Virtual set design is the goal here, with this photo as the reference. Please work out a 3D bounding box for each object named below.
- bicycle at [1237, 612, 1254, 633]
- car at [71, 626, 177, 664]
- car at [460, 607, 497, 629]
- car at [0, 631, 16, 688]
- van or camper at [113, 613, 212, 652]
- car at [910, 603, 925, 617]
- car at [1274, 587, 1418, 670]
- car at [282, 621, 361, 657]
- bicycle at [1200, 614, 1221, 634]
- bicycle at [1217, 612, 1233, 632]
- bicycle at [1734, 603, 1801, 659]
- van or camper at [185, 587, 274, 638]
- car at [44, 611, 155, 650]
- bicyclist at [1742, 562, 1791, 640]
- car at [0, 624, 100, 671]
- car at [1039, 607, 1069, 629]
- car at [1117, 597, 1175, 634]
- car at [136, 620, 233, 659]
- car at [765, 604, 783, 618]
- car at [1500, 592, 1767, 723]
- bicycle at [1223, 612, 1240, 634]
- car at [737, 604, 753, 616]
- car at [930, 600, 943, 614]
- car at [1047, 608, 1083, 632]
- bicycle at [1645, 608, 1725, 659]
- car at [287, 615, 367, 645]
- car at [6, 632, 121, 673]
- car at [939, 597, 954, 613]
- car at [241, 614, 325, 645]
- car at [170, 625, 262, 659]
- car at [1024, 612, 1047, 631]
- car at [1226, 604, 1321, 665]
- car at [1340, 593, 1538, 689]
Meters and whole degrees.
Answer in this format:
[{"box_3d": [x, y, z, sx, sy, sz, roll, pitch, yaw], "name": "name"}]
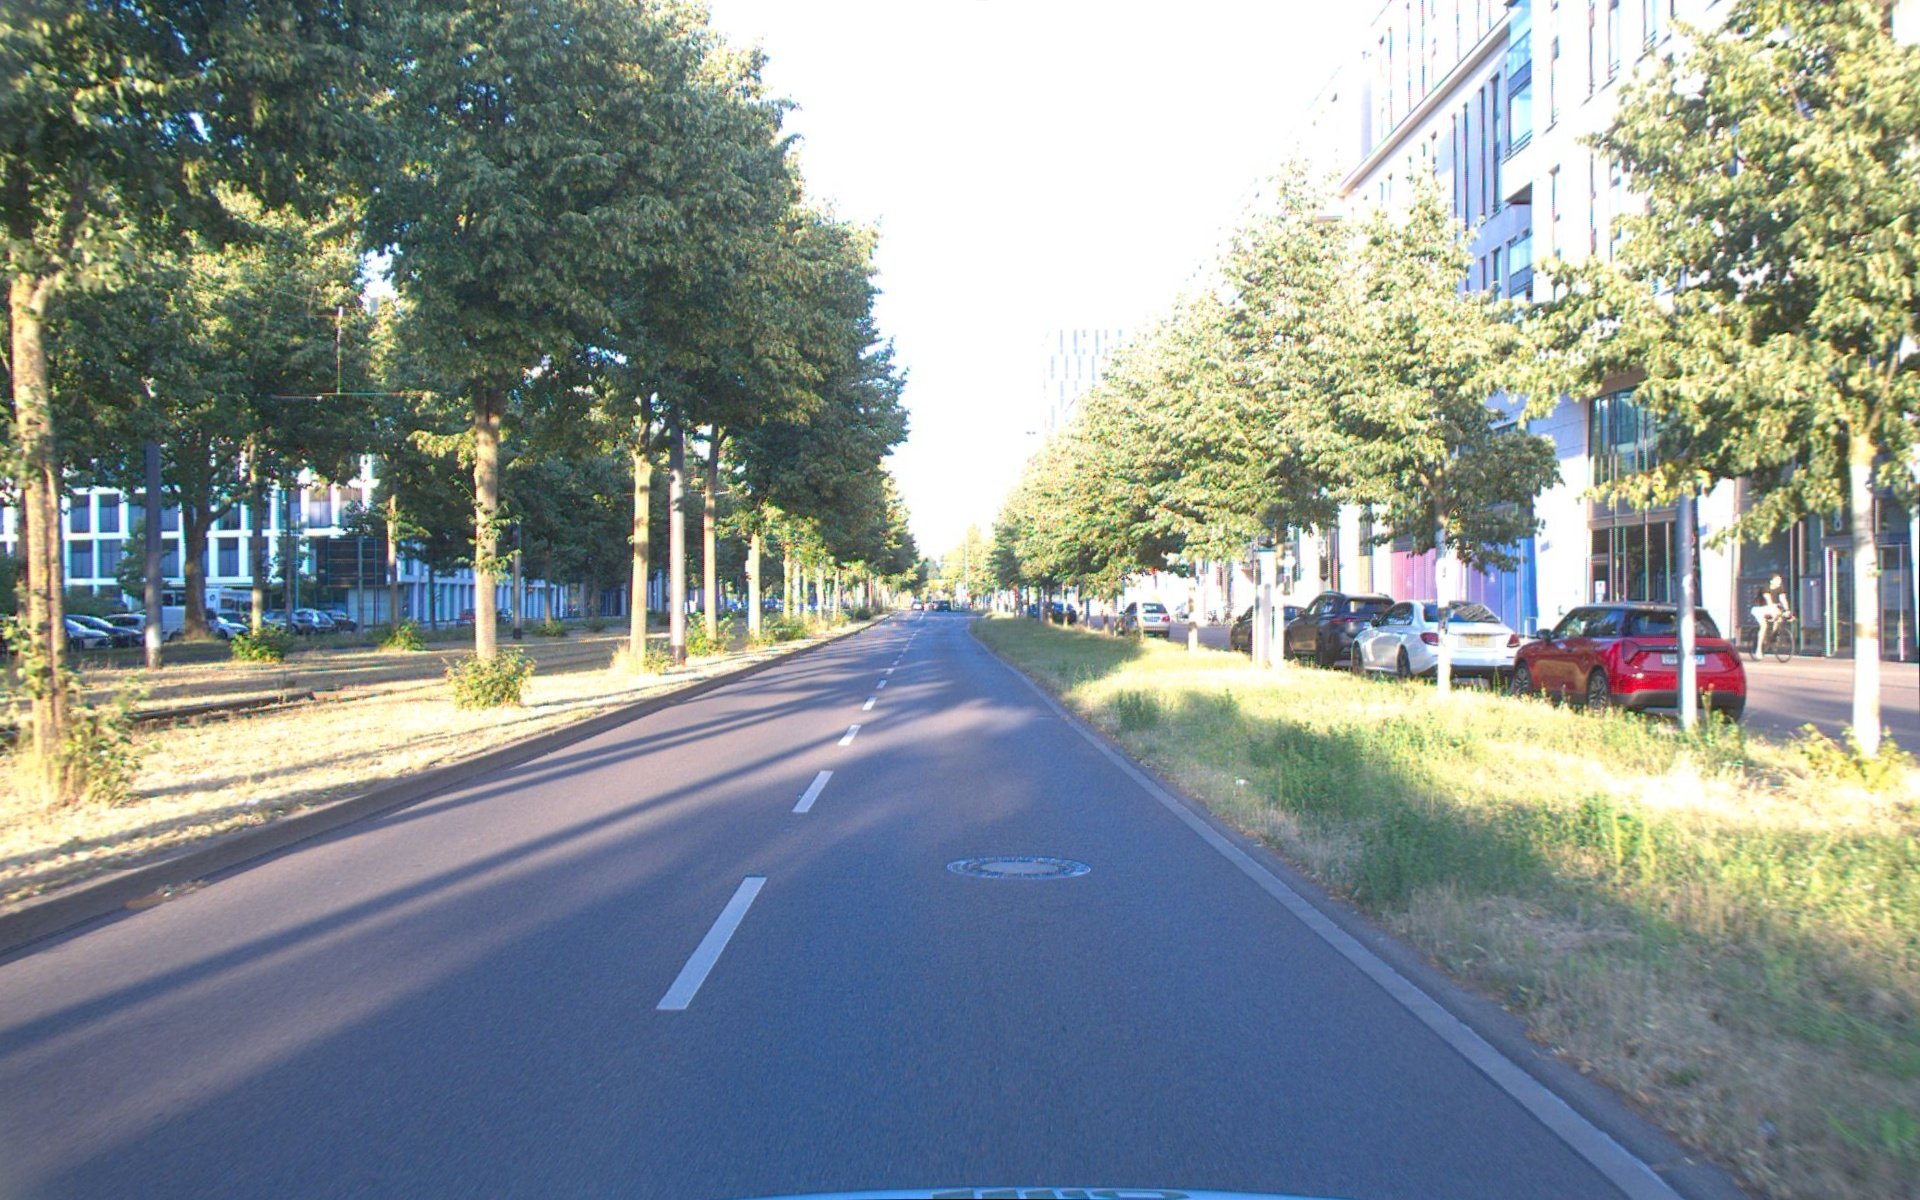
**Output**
[{"box_3d": [15.007, 1.167, 86.892, 0.522, 1.079, 1.856, -3, 0, -1], "name": "bicycle"}, {"box_3d": [-38.767, 2.095, 76.790, 3.908, 1.669, 1.920, -1, 0, -5], "name": "car"}, {"box_3d": [-36.542, 1.350, 125.600, 1.822, 1.609, 3.492, 0, 0, 0], "name": "car"}, {"box_3d": [-31.038, 1.881, 50.360, 1.953, 1.780, 4.789, -1, -1, -2], "name": "car"}, {"box_3d": [-38.475, 1.546, 79.888, 3.916, 1.822, 1.994, -1, 0, -11], "name": "van or camper"}, {"box_3d": [-6.033, 1.401, 232.718, 2.045, 2.049, 3.998, 0, 0, -2], "name": "car"}, {"box_3d": [8.418, 0.599, 36.512, 1.914, 1.652, 4.819, 2, 0, -2], "name": "car"}, {"box_3d": [-37.793, 2.273, 98.004, 3.908, 2.049, 1.998, -1, -1, -4], "name": "car"}, {"box_3d": [13.844, 1.311, 91.444, 0.523, 1.079, 1.776, -2, 0, -10], "name": "bicycle"}, {"box_3d": [14.540, 1.215, 90.729, 0.522, 1.079, 1.856, -1, 0, -1], "name": "bicycle"}, {"box_3d": [16.845, 0.641, 34.538, 0.532, 1.138, 1.913, -1, 0, 2], "name": "bicycle"}, {"box_3d": [-46.705, 0.818, 105.891, 2.654, 3.139, 6.264, 0, 0, 3], "name": "van or camper"}, {"box_3d": [-38.353, 1.354, 73.777, 3.908, 1.669, 1.920, -1, 0, -5], "name": "car"}, {"box_3d": [16.844, 0.027, 34.560, 0.533, 1.596, 1.020, -1, -1, 2], "name": "bicyclist"}, {"box_3d": [-31.382, 1.608, 56.350, 1.952, 1.512, 4.001, -1, -1, 2], "name": "car"}, {"box_3d": [6.891, 1.343, 121.401, 1.817, 1.556, 4.481, 1, -1, -1], "name": "car"}, {"box_3d": [7.848, 0.638, 70.193, 1.772, 1.527, 4.823, 0, 0, -2], "name": "car"}, {"box_3d": [-38.875, 1.955, 83.017, 3.905, 1.877, 2.012, -1, 0, -1], "name": "car"}, {"box_3d": [-22.622, 1.334, 201.500, 1.847, 1.605, 4.181, -1, -1, -2], "name": "car"}, {"box_3d": [8.607, 0.682, 21.532, 1.772, 1.527, 3.958, 0, 0, -2], "name": "car"}, {"box_3d": [14.453, 1.216, 88.060, 0.522, 1.079, 1.856, -3, 0, -1], "name": "bicycle"}, {"box_3d": [-27.616, 1.308, 212.301, 1.797, 1.516, 3.504, -1, 0, -5], "name": "car"}, {"box_3d": [-3.368, 1.024, 237.912, 1.953, 2.049, 3.999, 0, 0, 0], "name": "car"}, {"box_3d": [7.206, 1.355, 114.168, 1.905, 1.576, 4.809, -1, -1, -3], "name": "car"}, {"box_3d": [15.350, 0.695, 35.080, 0.607, 1.051, 2.260, -1, -1, -2], "name": "bicycle"}, {"box_3d": [-36.679, 1.750, 95.877, 3.908, 1.669, 1.920, -1, 0, -5], "name": "car"}, {"box_3d": [-38.468, 2.241, 71.033, 3.905, 1.669, 1.922, -1, 0, 0], "name": "car"}, {"box_3d": [-1.772, 0.624, 218.285, 1.953, 2.049, 3.998, 0, 0, -2], "name": "car"}, {"box_3d": [-38.165, 1.661, 93.299, 3.908, 1.669, 1.920, -1, 0, -5], "name": "car"}, {"box_3d": [-38.509, 2.163, 85.636, 3.902, 1.669, 1.923, -1, 0, 6], "name": "car"}, {"box_3d": [6.400, 1.842, 140.101, 1.689, 1.556, 4.267, 1, -1, -1], "name": "car"}, {"box_3d": [8.273, 0.880, 43.980, 1.689, 1.527, 4.232, 1, 0, -1], "name": "car"}, {"box_3d": [8.265, 0.664, 29.057, 1.882, 1.527, 5.008, 0, 0, -2], "name": "car"}]
